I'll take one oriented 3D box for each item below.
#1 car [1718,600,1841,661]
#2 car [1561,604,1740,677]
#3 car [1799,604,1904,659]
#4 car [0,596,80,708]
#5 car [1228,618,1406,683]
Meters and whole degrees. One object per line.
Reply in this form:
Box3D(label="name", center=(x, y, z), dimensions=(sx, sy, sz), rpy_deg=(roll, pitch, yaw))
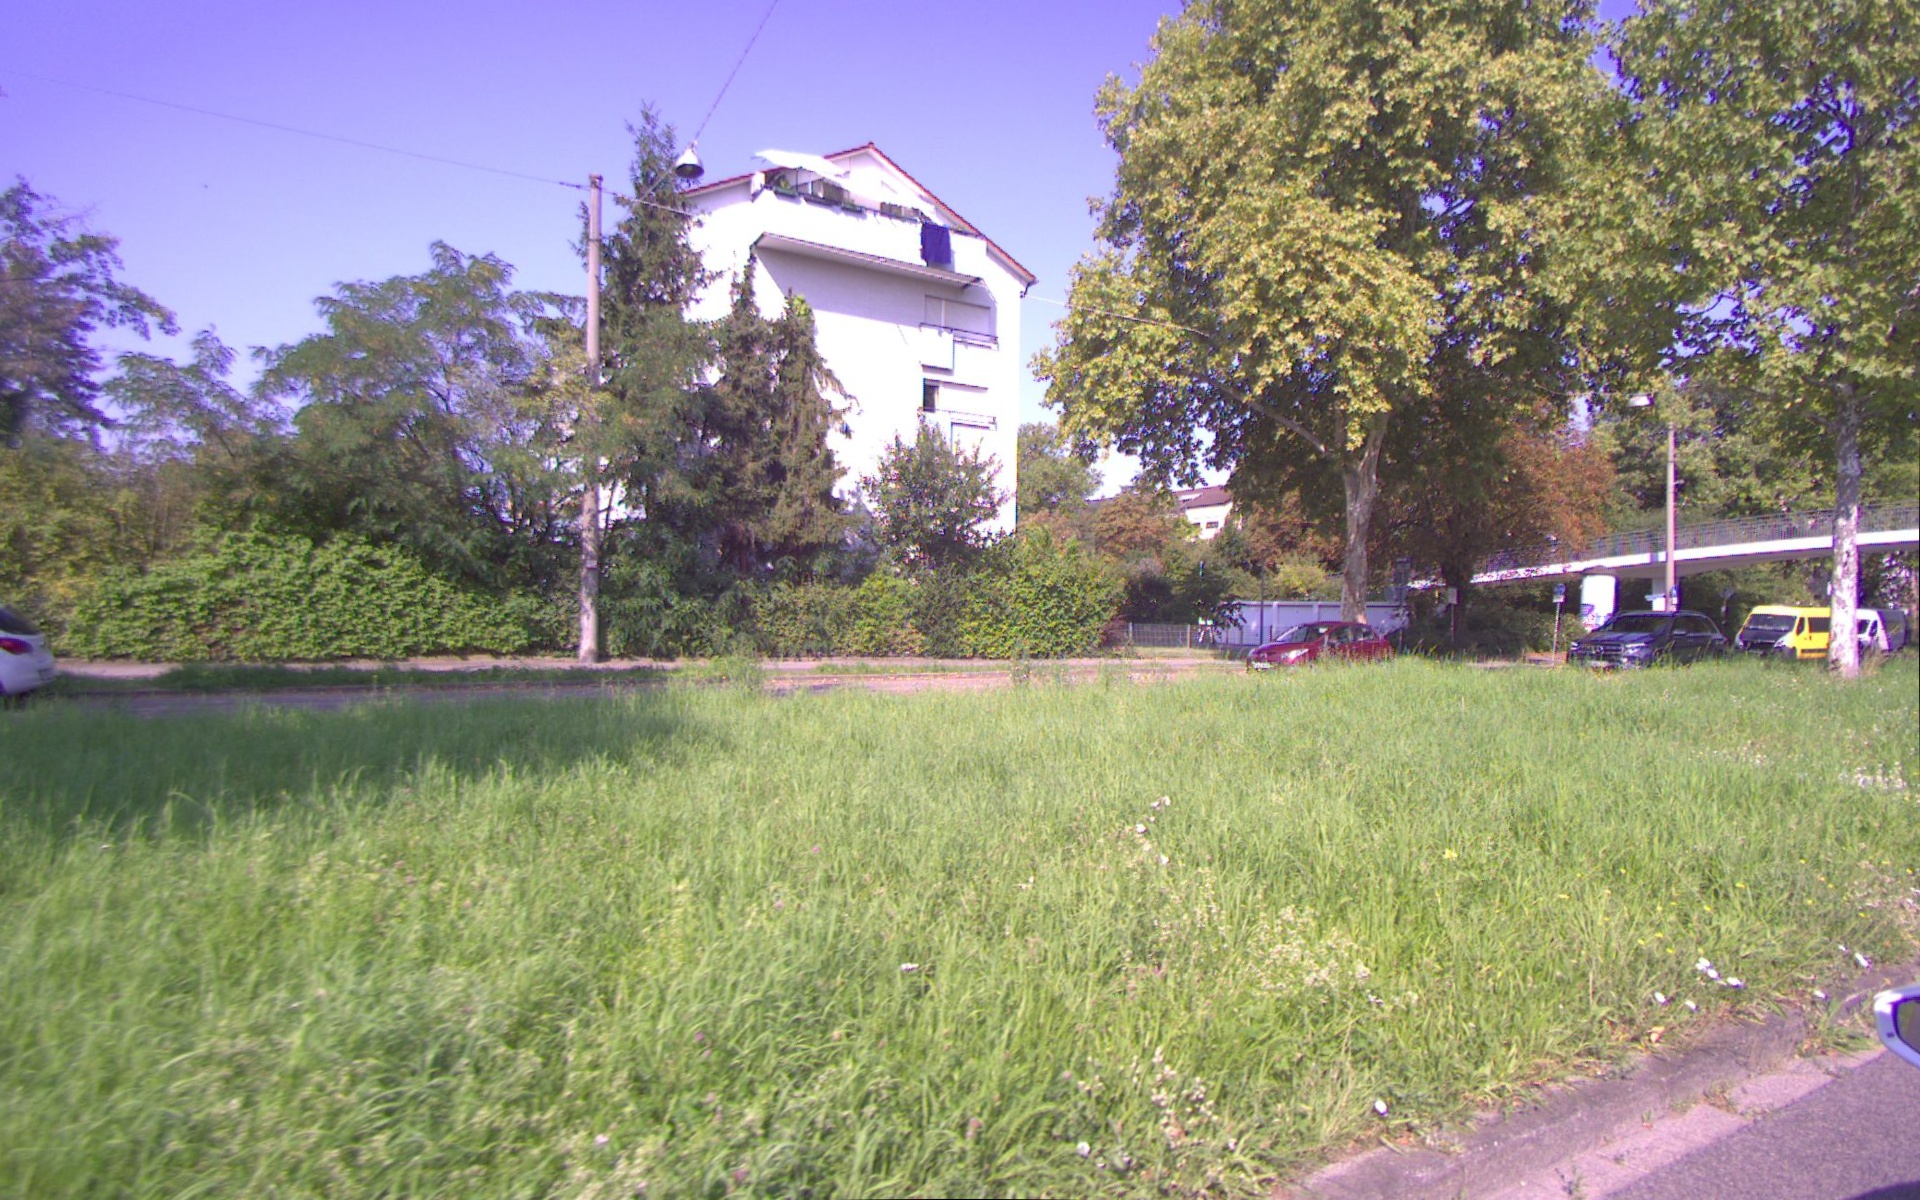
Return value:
Box3D(label="car", center=(35.850, 1.349, 43.924), dimensions=(5.990, 2.512, 2.197), rpy_deg=(2, 0, -30))
Box3D(label="car", center=(17.156, 1.000, 24.902), dimensions=(4.800, 1.638, 1.766), rpy_deg=(2, 0, -30))
Box3D(label="car", center=(43.121, 1.540, 48.539), dimensions=(6.197, 2.462, 2.195), rpy_deg=(2, 0, -33))
Box3D(label="car", center=(-14.672, 0.669, 13.604), dimensions=(3.853, 1.499, 1.637), rpy_deg=(2, 0, -30))
Box3D(label="car", center=(8.359, 1.151, 23.489), dimensions=(3.844, 1.382, 1.641), rpy_deg=(1, 0, -24))
